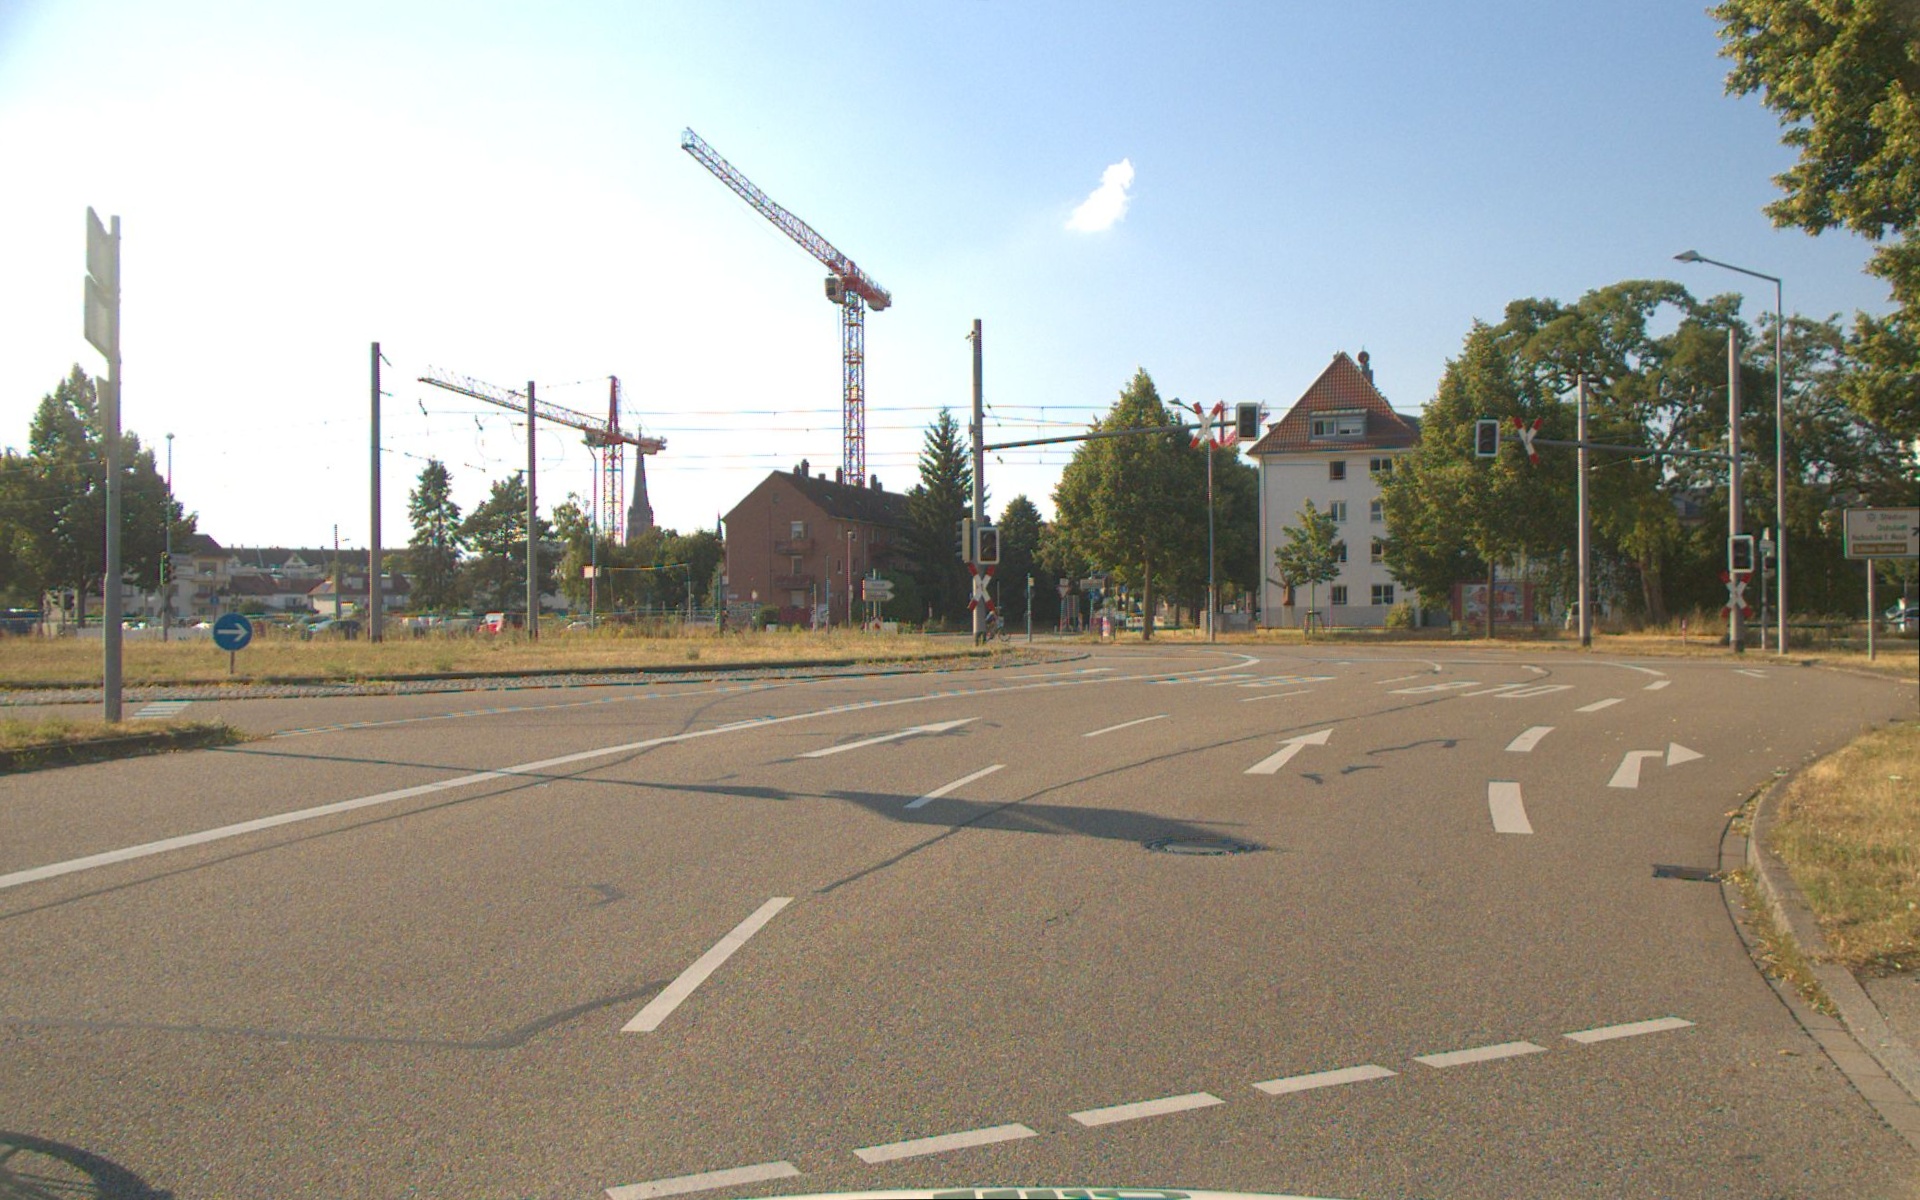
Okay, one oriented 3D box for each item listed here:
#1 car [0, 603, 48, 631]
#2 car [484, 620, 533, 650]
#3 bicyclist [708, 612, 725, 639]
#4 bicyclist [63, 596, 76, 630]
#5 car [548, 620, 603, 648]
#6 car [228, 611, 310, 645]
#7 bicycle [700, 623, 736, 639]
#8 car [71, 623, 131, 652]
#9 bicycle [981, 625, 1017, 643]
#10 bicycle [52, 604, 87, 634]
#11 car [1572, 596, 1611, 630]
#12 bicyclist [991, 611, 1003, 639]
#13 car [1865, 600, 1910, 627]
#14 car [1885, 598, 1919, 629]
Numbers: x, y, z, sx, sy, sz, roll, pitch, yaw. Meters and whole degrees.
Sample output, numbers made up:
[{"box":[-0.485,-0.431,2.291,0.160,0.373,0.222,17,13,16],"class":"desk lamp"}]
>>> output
[{"box":[-70.754,1.272,124.413,3.910,2.049,1.997,-1,0,28],"class":"car"},{"box":[-29.892,2.285,109.359,1.903,1.886,3.950,0,-1,-35],"class":"car"},{"box":[-13.394,1.398,91.019,0.881,1.421,0.524,-1,-1,-12],"class":"bicyclist"},{"box":[-44.939,0.663,83.472,0.600,1.701,0.473,0,-2,-29],"class":"bicyclist"},{"box":[-29.159,2.584,125.477,3.727,2.049,1.673,-1,-1,13],"class":"car"},{"box":[-39.658,1.604,94.960,3.959,1.847,1.973,0,0,-38],"class":"car"},{"box":[-13.312,1.704,90.973,1.952,0.839,0.429,-1,0,-12],"class":"bicycle"},{"box":[-62.865,2.745,121.039,3.910,2.049,1.997,-1,0,28],"class":"car"},{"box":[2.176,1.902,92.702,1.952,0.934,0.429,-1,0,-12],"class":"bicycle"},{"box":[-44.923,0.967,83.454,1.522,1.499,0.475,0,0,-29],"class":"bicycle"},{"box":[31.185,0.651,81.629,1.735,1.646,3.968,-1,-1,22],"class":"car"},{"box":[2.071,1.390,92.685,0.611,1.537,0.417,0,-1,-12],"class":"bicyclist"},{"box":[49.941,0.754,89.130,1.568,1.426,3.968,-1,-1,22],"class":"car"},{"box":[44.816,0.636,77.977,1.568,1.426,3.968,-1,-1,22],"class":"car"}]
